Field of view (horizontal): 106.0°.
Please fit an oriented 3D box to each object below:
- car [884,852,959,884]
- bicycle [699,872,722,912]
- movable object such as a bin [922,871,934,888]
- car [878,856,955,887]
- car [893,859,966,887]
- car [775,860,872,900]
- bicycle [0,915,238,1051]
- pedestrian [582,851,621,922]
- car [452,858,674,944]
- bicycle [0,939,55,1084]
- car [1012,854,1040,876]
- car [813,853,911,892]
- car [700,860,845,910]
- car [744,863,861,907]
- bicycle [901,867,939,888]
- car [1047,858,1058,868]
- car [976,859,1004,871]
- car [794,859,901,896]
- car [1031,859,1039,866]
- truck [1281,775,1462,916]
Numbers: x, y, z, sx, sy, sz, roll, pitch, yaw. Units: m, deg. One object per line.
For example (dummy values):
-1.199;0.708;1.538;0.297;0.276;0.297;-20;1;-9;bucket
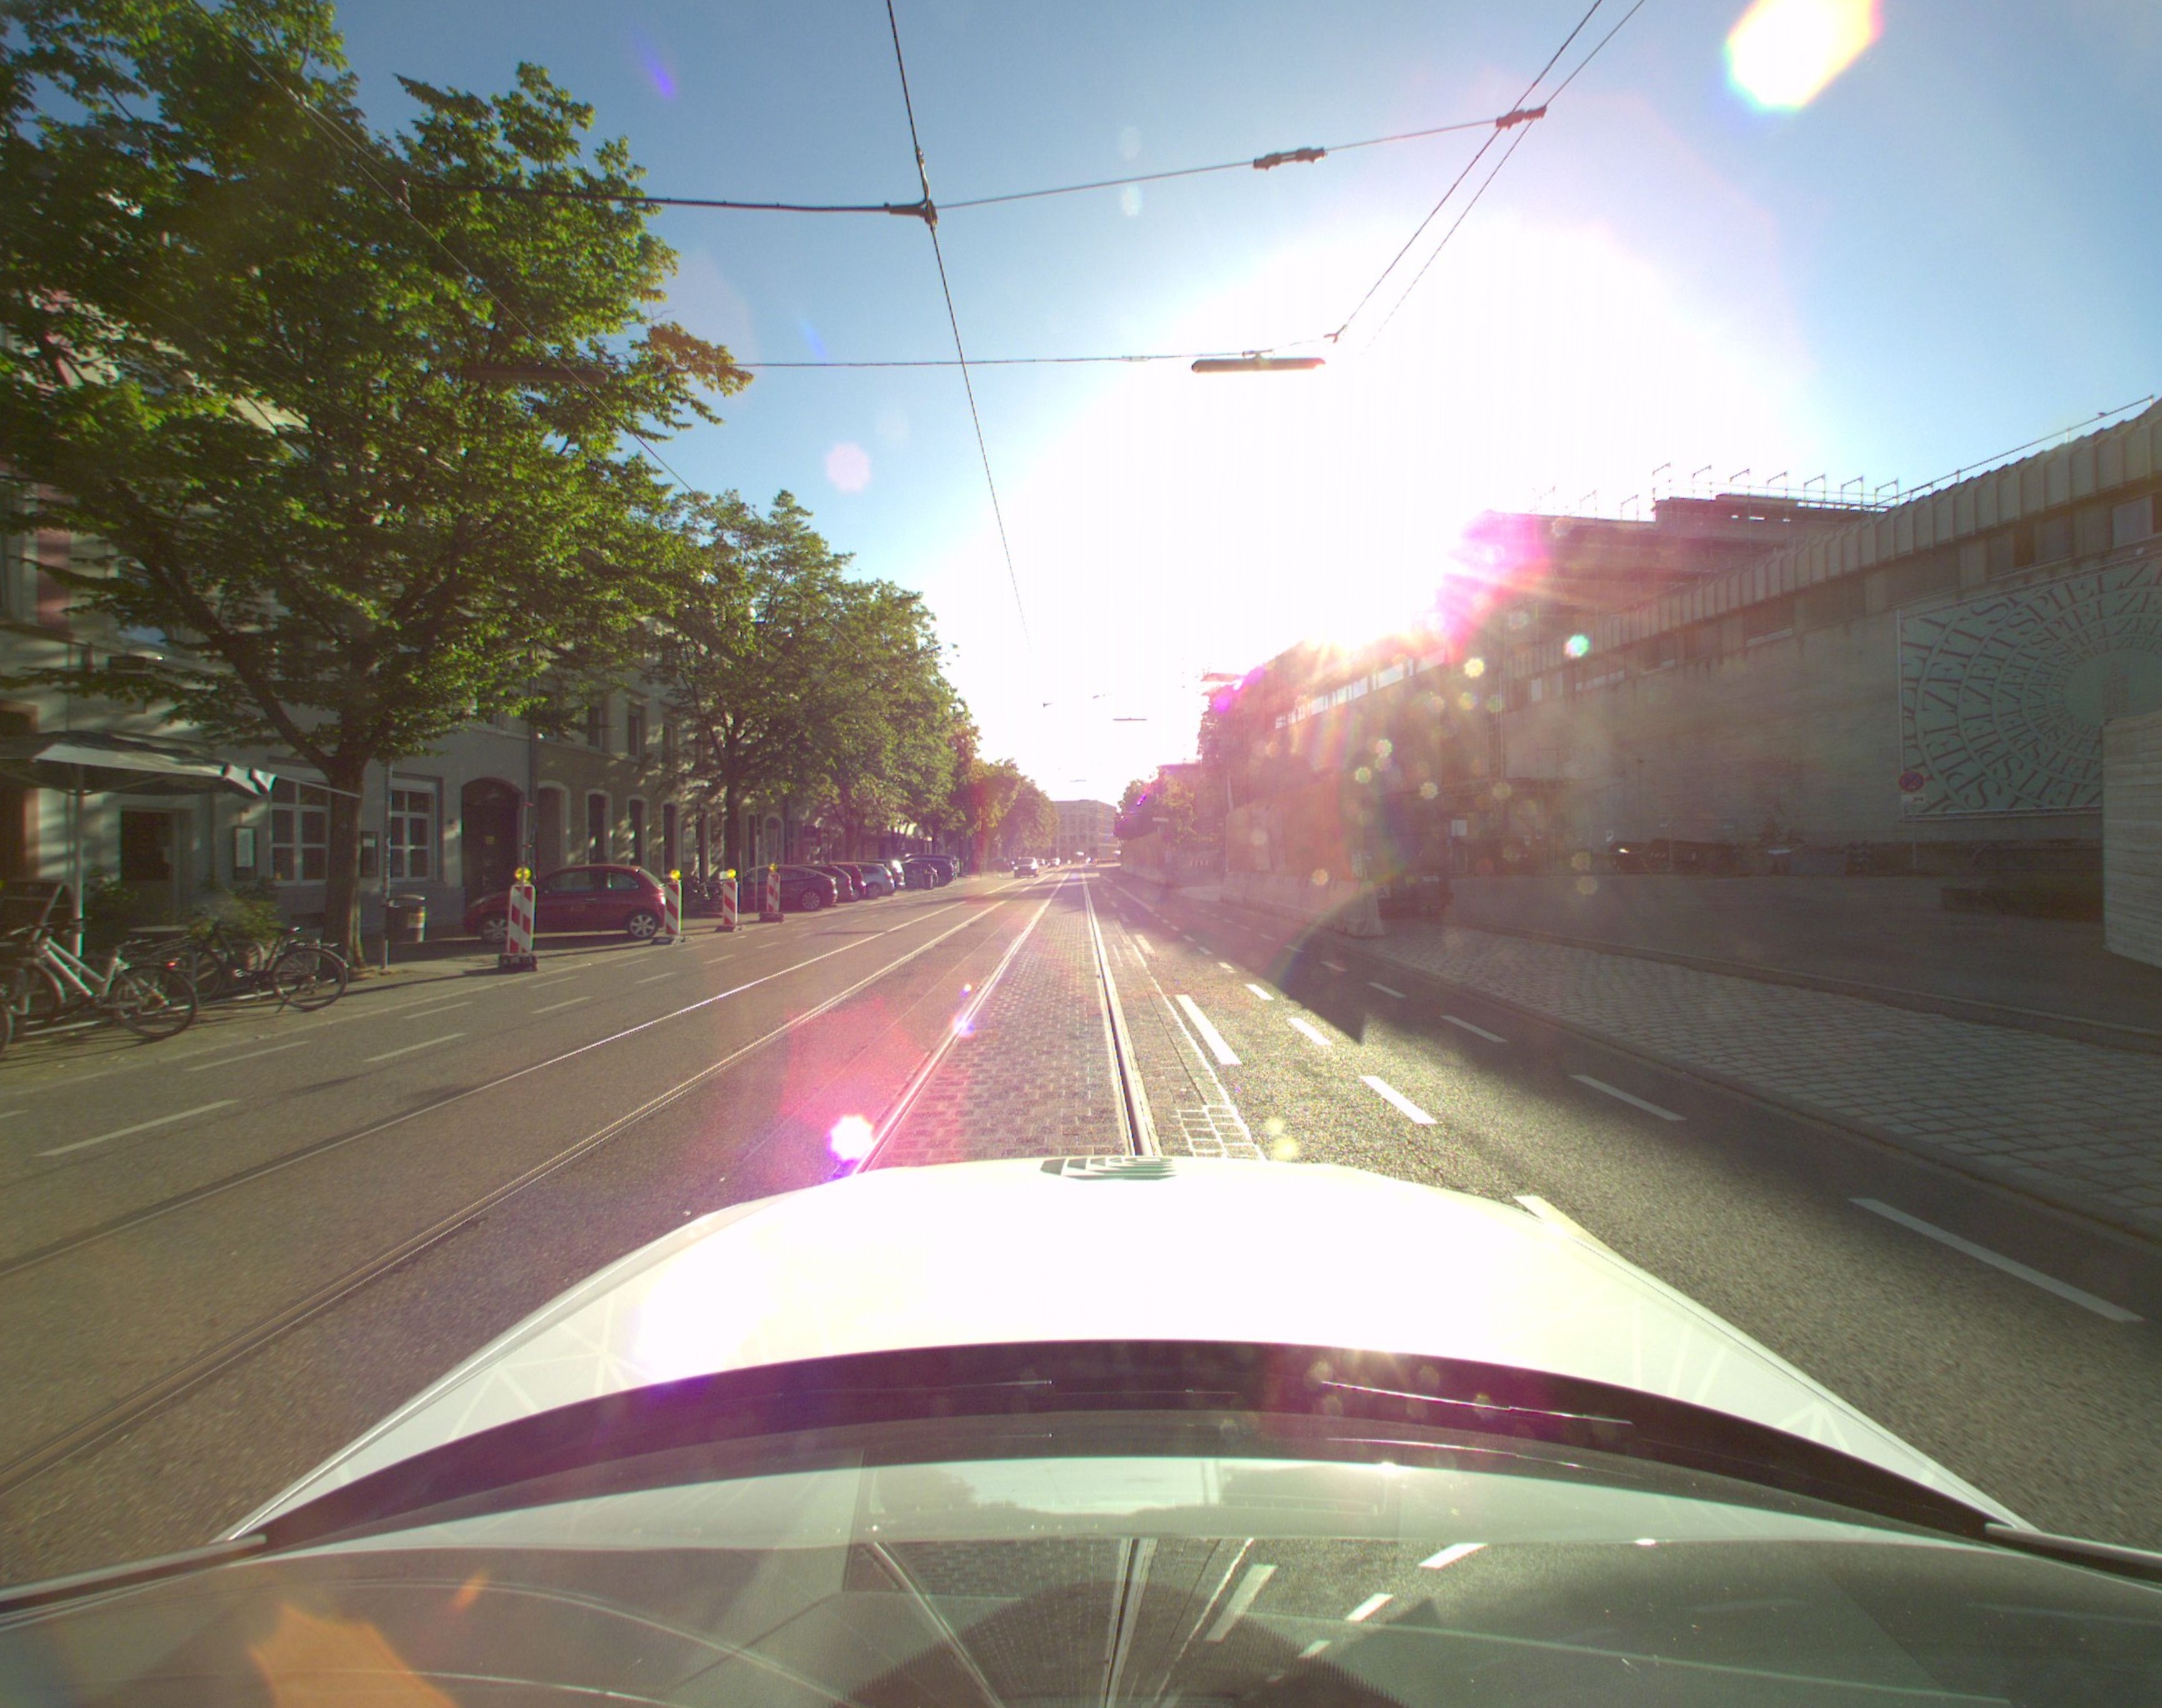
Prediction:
-10.084;0.885;51.585;4.371;1.986;1.935;1;-1;-22;car
-10.631;1.065;23.369;0.333;1.095;1.585;-2;0;-16;bicycle
-8.344;1.401;44.363;0.576;0.913;0.572;1;0;-16;movable object such as a bin
-9.946;1.035;49.223;4.251;1.685;1.798;-2;0;-21;car
-8.712;1.068;46.667;3.867;1.476;1.832;-2;0;-18;car
-10.065;0.992;31.846;3.382;1.493;1.598;1;0;-29;car
-9.266;1.192;7.690;1.995;1.087;0.568;3;0;2;bicycle
-13.835;0.937;23.500;0.728;2.013;0.556;-1;0;1;pedestrian
-10.373;0.893;16.632;3.632;1.553;1.654;0;1;-27;car
-9.349;1.218;6.361;1.960;1.079;0.569;1;0;2;bicycle
-4.501;0.883;67.364;1.921;1.629;4.249;-4;1;0;car
-10.196;0.855;38.207;4.094;1.678;1.839;1;0;-3;car
-9.979;0.962;26.399;4.212;1.491;1.926;0;0;-27;car
-9.884;1.056;28.977;3.694;1.470;1.737;1;-1;-29;car
-8.881;1.293;44.943;1.971;1.144;0.489;1;-1;-19;bicycle
-4.620;1.466;133.552;1.705;1.436;4.166;-1;0;-3;car
-10.542;1.245;94.191;2.951;1.332;1.204;-2;0;-28;car
-9.947;0.970;34.748;4.126;1.512;1.825;0;0;-27;car
-9.884;1.740;175.068;1.568;1.490;3.999;-1;0;0;car
6.996;-0.185;20.471;2.511;2.909;5.508;-4;0;1;truck
